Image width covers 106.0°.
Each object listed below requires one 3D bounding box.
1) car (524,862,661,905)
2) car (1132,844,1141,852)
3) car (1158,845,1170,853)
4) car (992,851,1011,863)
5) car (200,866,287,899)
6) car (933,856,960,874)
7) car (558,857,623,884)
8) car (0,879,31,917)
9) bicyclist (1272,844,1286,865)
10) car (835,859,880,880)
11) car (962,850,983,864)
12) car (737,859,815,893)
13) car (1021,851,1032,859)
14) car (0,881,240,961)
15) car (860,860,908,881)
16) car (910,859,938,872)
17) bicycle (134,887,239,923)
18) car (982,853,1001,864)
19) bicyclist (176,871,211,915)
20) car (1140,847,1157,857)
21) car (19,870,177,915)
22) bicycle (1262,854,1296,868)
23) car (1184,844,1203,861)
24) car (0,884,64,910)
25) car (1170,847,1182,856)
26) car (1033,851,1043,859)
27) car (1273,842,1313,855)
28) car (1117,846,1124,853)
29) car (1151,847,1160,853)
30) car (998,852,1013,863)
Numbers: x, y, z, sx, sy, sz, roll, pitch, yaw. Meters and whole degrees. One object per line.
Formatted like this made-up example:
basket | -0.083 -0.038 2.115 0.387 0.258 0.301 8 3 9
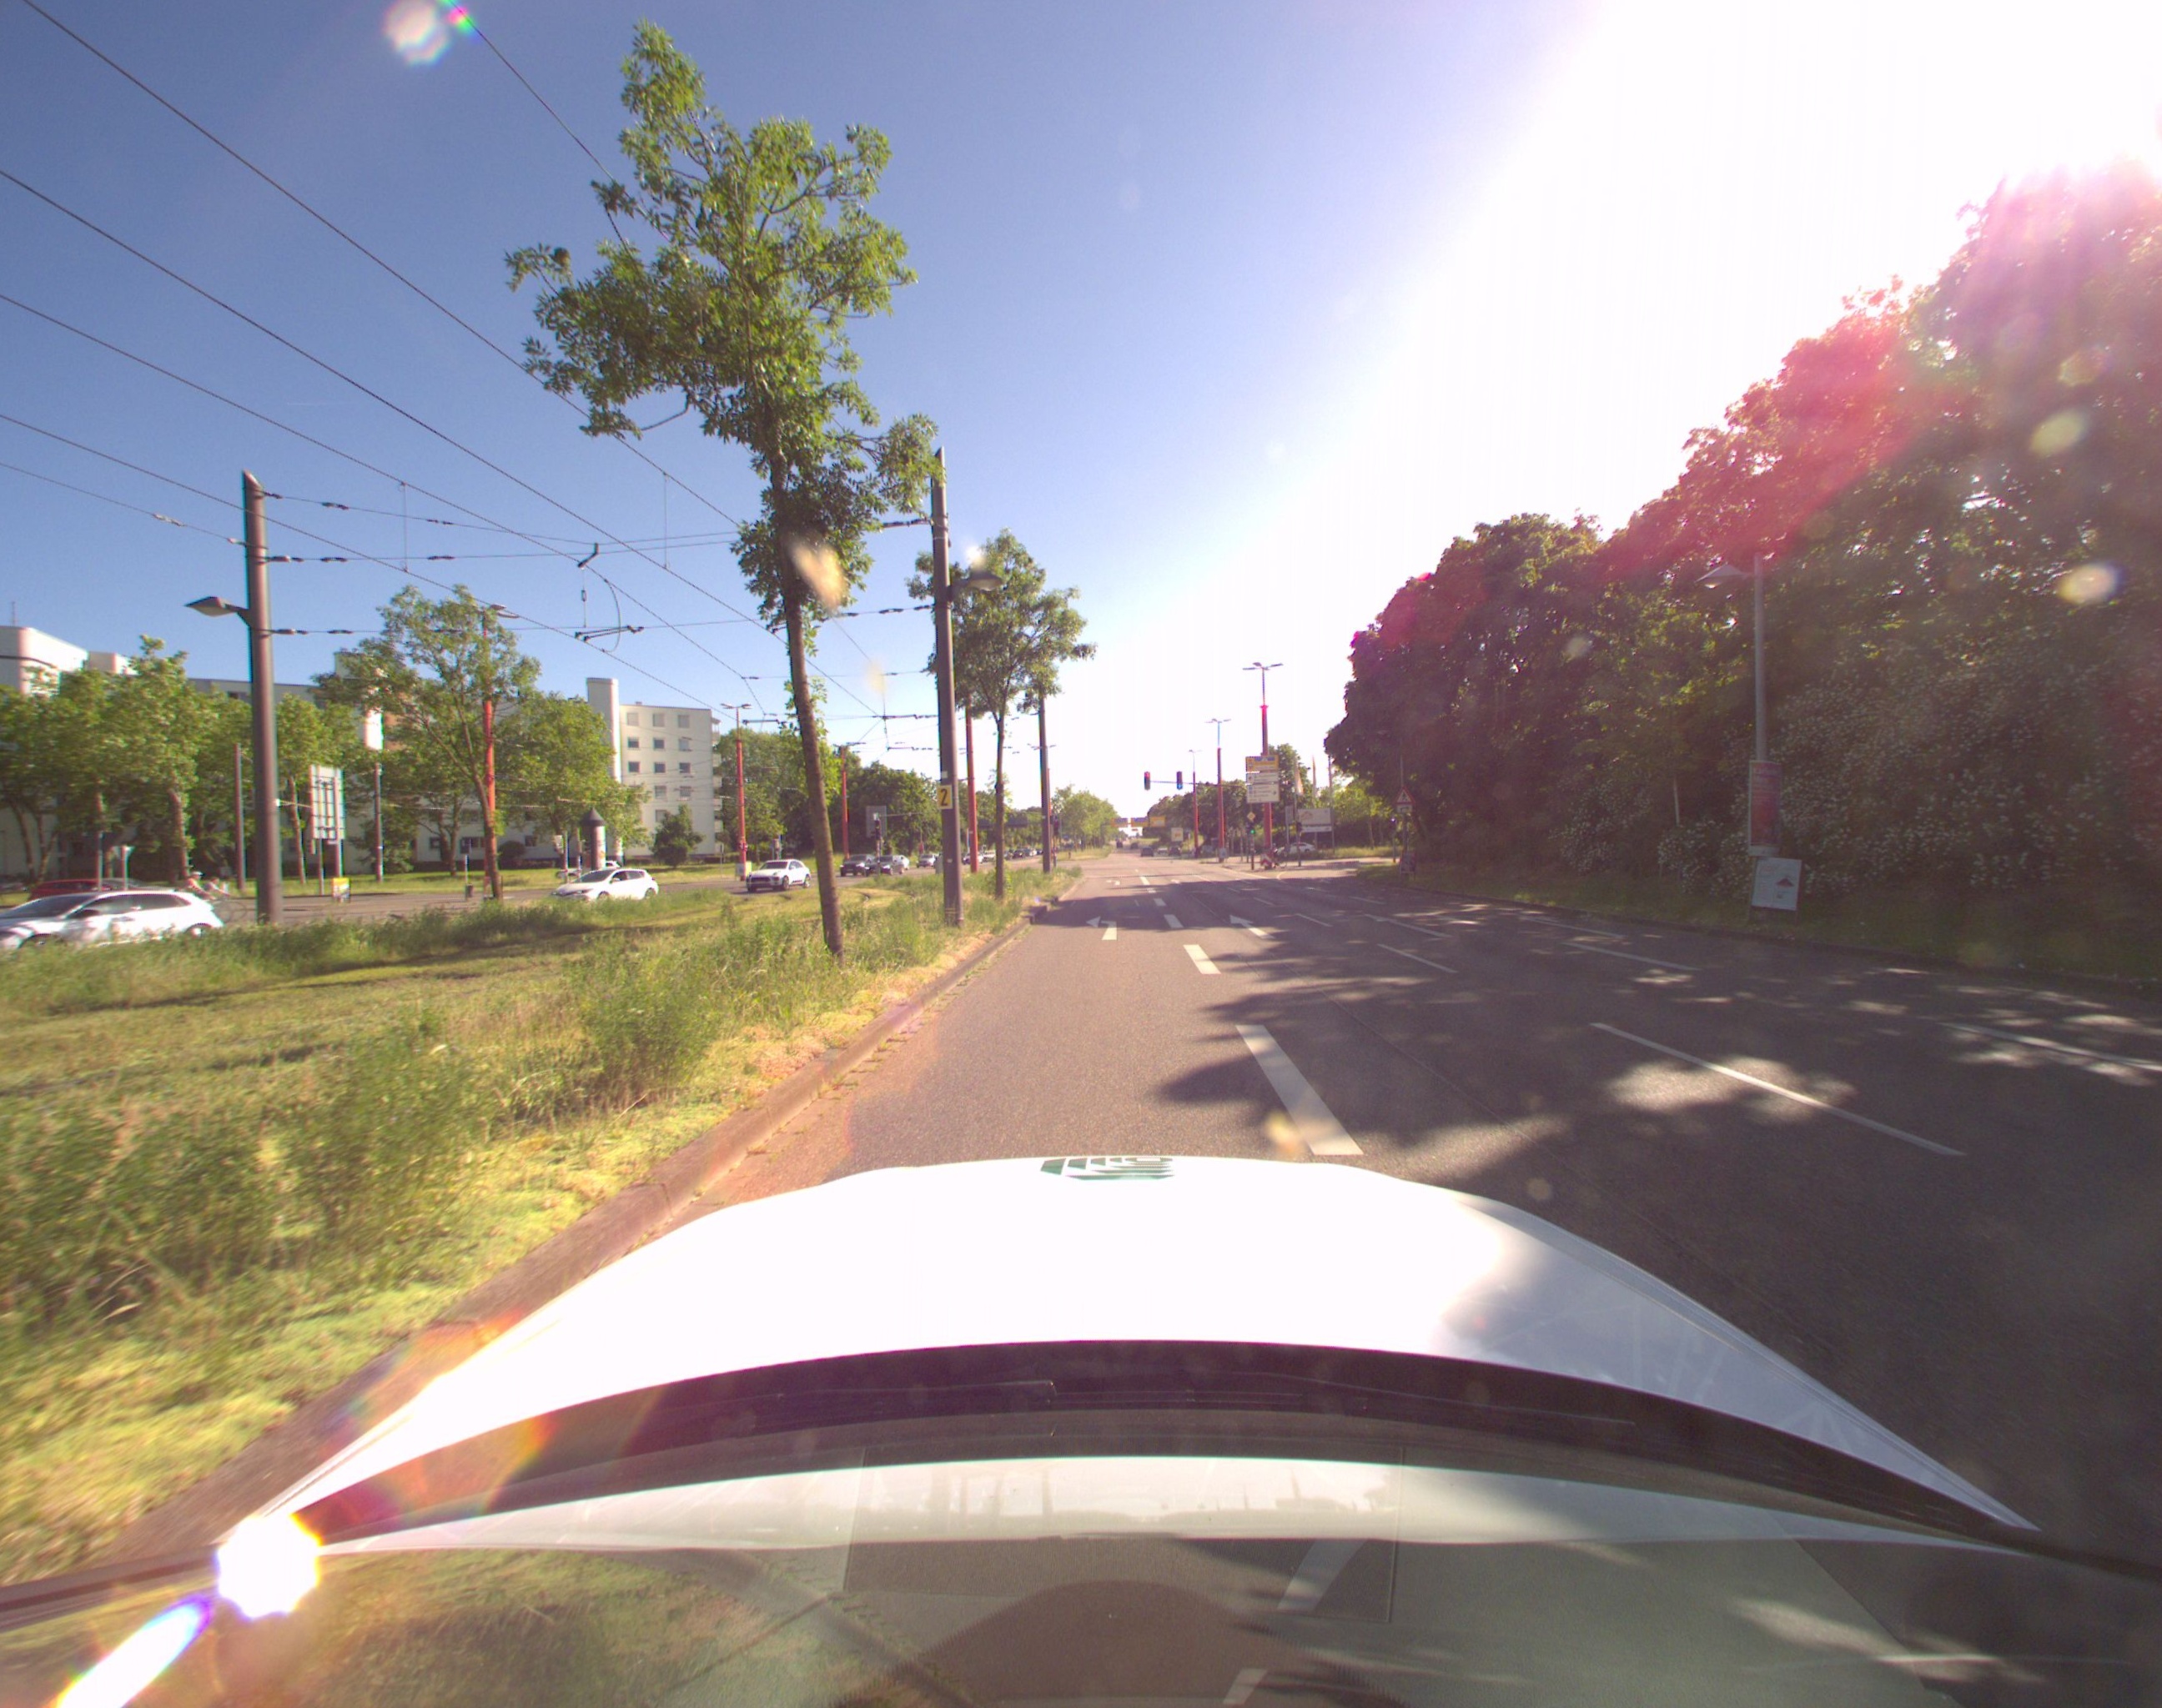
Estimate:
car | -17.921 1.028 30.164 1.889 1.398 4.553 -1 0 8
car | 14.650 -1.617 214.937 2.146 2.013 4.003 -2 0 3
car | 15.061 -0.883 148.306 1.985 1.540 4.003 -1 0 3
car | -11.381 0.403 116.836 1.984 1.594 4.469 -2 0 4
car | -61.413 2.046 59.784 1.875 2.310 4.017 -1 0 16
car | -13.250 1.040 80.162 1.755 1.608 3.761 -2 0 3
car | -40.589 1.326 67.403 4.427 2.013 1.978 -2 0 -36
car | -53.319 2.141 38.523 4.010 1.750 1.895 -1 0 -29
bicyclist | 13.116 0.027 53.988 0.739 1.341 0.706 -1 0 -7
car | -17.486 1.196 63.904 1.985 1.481 4.636 -1 0 3
car | -12.658 0.309 95.060 1.582 1.472 4.187 -3 1 4
car | -15.740 1.085 42.327 1.885 1.621 4.664 -1 0 5
car | -10.072 0.242 150.028 1.542 1.377 4.265 -1 0 2
car | -19.958 1.263 16.367 1.790 1.293 4.004 -1 0 3
car | -14.393 1.172 59.787 1.984 1.409 4.996 -1 0 4
car | -16.917 1.245 88.092 1.986 1.374 4.402 -1 0 2
bicycle | -30.437 1.720 27.773 2.374 1.081 0.468 -1 0 -45
car | -11.750 0.595 107.285 1.697 1.423 4.646 -2 0 2
bicyclist | -30.343 1.321 27.853 0.761 1.430 0.743 0 0 -44
car | 9.772 -0.280 117.911 1.989 1.496 3.995 -1 0 -3
car | -46.025 1.749 38.276 4.286 1.901 1.982 -1 0 -29
bicycle | 13.117 0.445 54.042 2.161 0.878 0.558 -1 0 -9
car | 13.147 -0.153 94.631 1.981 1.887 4.011 -1 0 10
car | -72.469 2.907 55.185 1.875 1.596 4.017 -1 0 16
car | 14.465 -0.432 124.109 1.731 1.341 3.084 -1 0 3
car | -8.367 0.194 159.557 1.598 1.459 3.953 -1 0 3
car | 25.094 -0.631 96.378 4.343 1.371 2.070 -1 0 17
car | 11.359 -1.371 234.757 1.987 2.013 3.999 -1 0 0
car | 17.896 -0.963 196.534 1.985 1.540 4.003 -1 0 3
car | -11.680 0.524 126.476 1.793 1.707 4.063 -2 0 3
